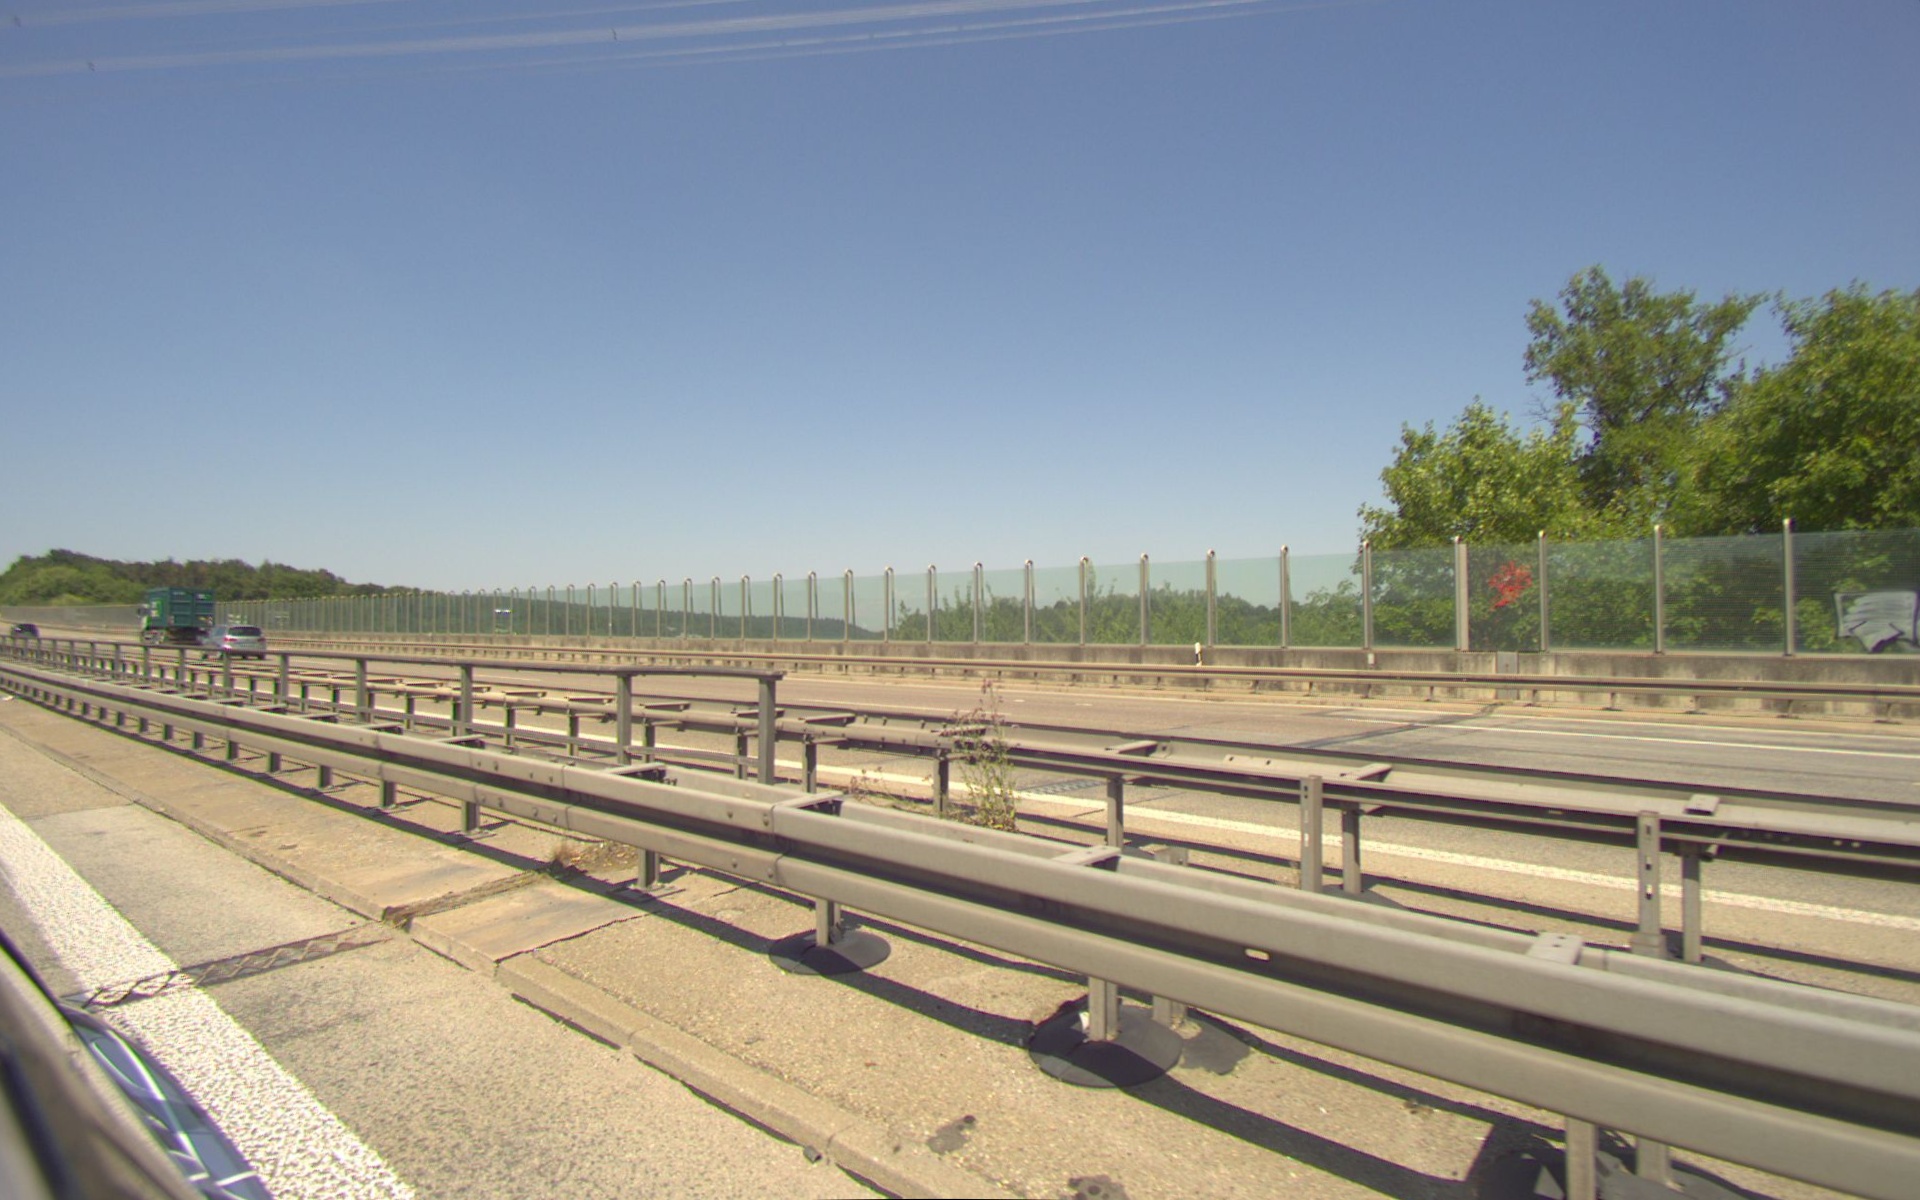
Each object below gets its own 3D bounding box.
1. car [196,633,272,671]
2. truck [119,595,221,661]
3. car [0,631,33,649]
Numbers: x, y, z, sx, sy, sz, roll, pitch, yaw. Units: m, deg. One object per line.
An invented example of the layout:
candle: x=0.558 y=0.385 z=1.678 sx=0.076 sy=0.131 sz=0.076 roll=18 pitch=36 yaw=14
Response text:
car: x=-32.606 y=2.361 z=45.419 sx=4.042 sy=1.617 sz=1.764 roll=-3 pitch=-4 yaw=39
truck: x=-54.274 y=2.062 z=69.383 sx=11.084 sy=4.170 sz=3.272 roll=-3 pitch=-5 yaw=41
car: x=-87.961 y=3.721 z=94.285 sx=4.045 sy=1.578 sz=1.930 roll=-2 pitch=-3 yaw=41
